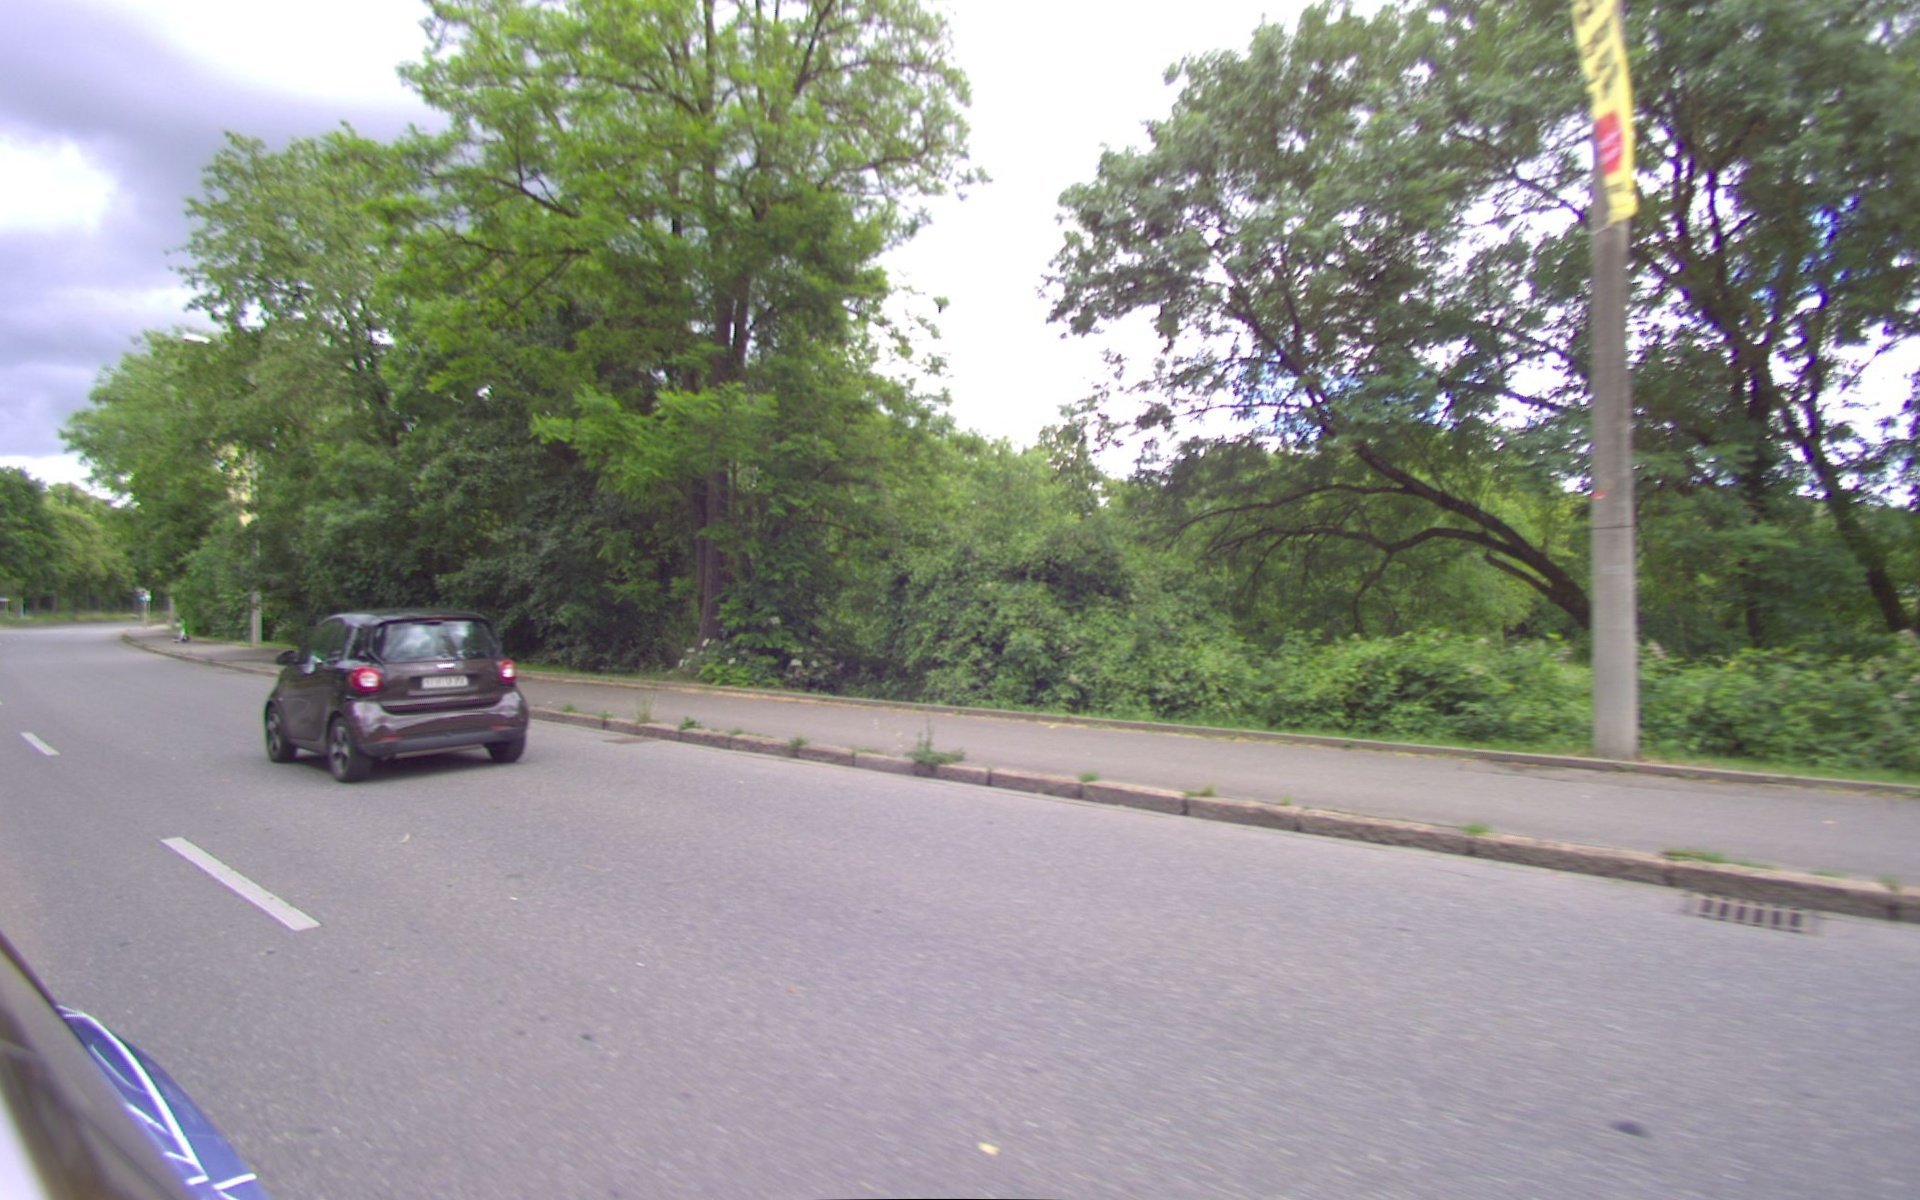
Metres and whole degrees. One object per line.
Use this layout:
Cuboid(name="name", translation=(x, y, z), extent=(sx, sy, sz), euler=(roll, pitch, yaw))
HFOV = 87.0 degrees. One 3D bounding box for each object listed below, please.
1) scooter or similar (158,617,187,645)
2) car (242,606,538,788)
Cuboid(name="scooter or similar", translation=(-34.228, 1.360, 43.993), extent=(1.289, 1.193, 0.363), euler=(-2, 0, 23))
Cuboid(name="car", translation=(-5.697, 0.828, 10.020), extent=(3.025, 1.517, 1.580), euler=(-1, -1, 39))
